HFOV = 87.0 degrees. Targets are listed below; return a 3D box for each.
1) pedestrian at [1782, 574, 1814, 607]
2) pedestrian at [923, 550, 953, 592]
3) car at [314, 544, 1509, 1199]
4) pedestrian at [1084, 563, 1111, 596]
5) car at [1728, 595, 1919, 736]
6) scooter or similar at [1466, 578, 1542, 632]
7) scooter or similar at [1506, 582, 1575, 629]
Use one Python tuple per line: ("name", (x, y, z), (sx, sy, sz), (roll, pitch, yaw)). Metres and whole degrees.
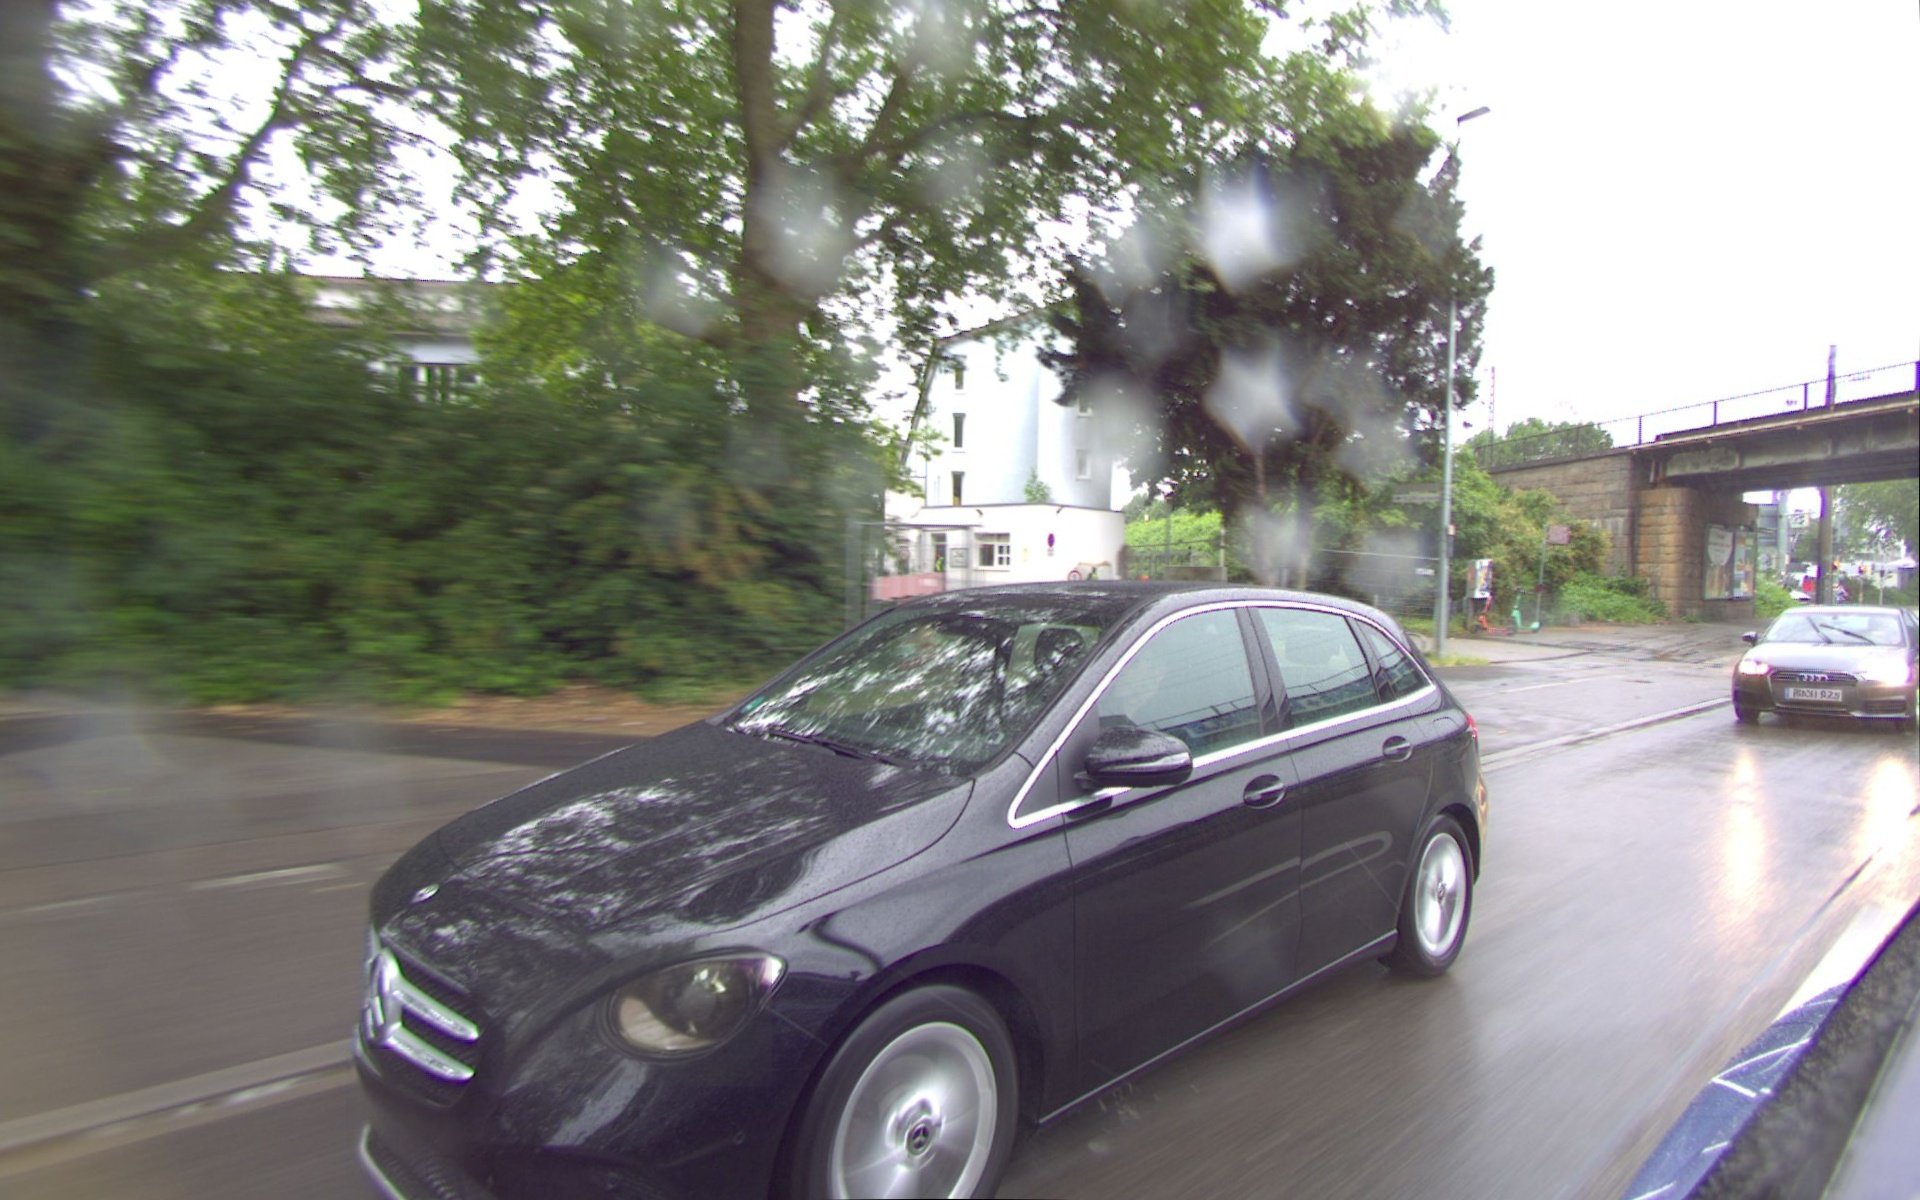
("pedestrian", (44.920, -0.514, 54.237), (0.984, 1.740, 0.822), (1, 2, -13))
("pedestrian", (-0.943, -1.255, 43.279), (0.927, 1.757, 0.912), (3, 2, 43))
("car", (0.239, 0.624, 3.602), (4.020, 1.542, 1.872), (-1, 3, -44))
("pedestrian", (5.613, -0.850, 41.322), (0.856, 1.311, 0.696), (3, 2, 40))
("car", (11.059, 0.677, 12.390), (3.686, 1.415, 1.840), (-1, 1, -39))
("scooter or similar", (14.269, 0.116, 26.580), (1.528, 1.325, 0.711), (1, 6, 0))
("scooter or similar", (15.727, 0.138, 27.417), (1.515, 1.193, 0.775), (1, 4, -23))
